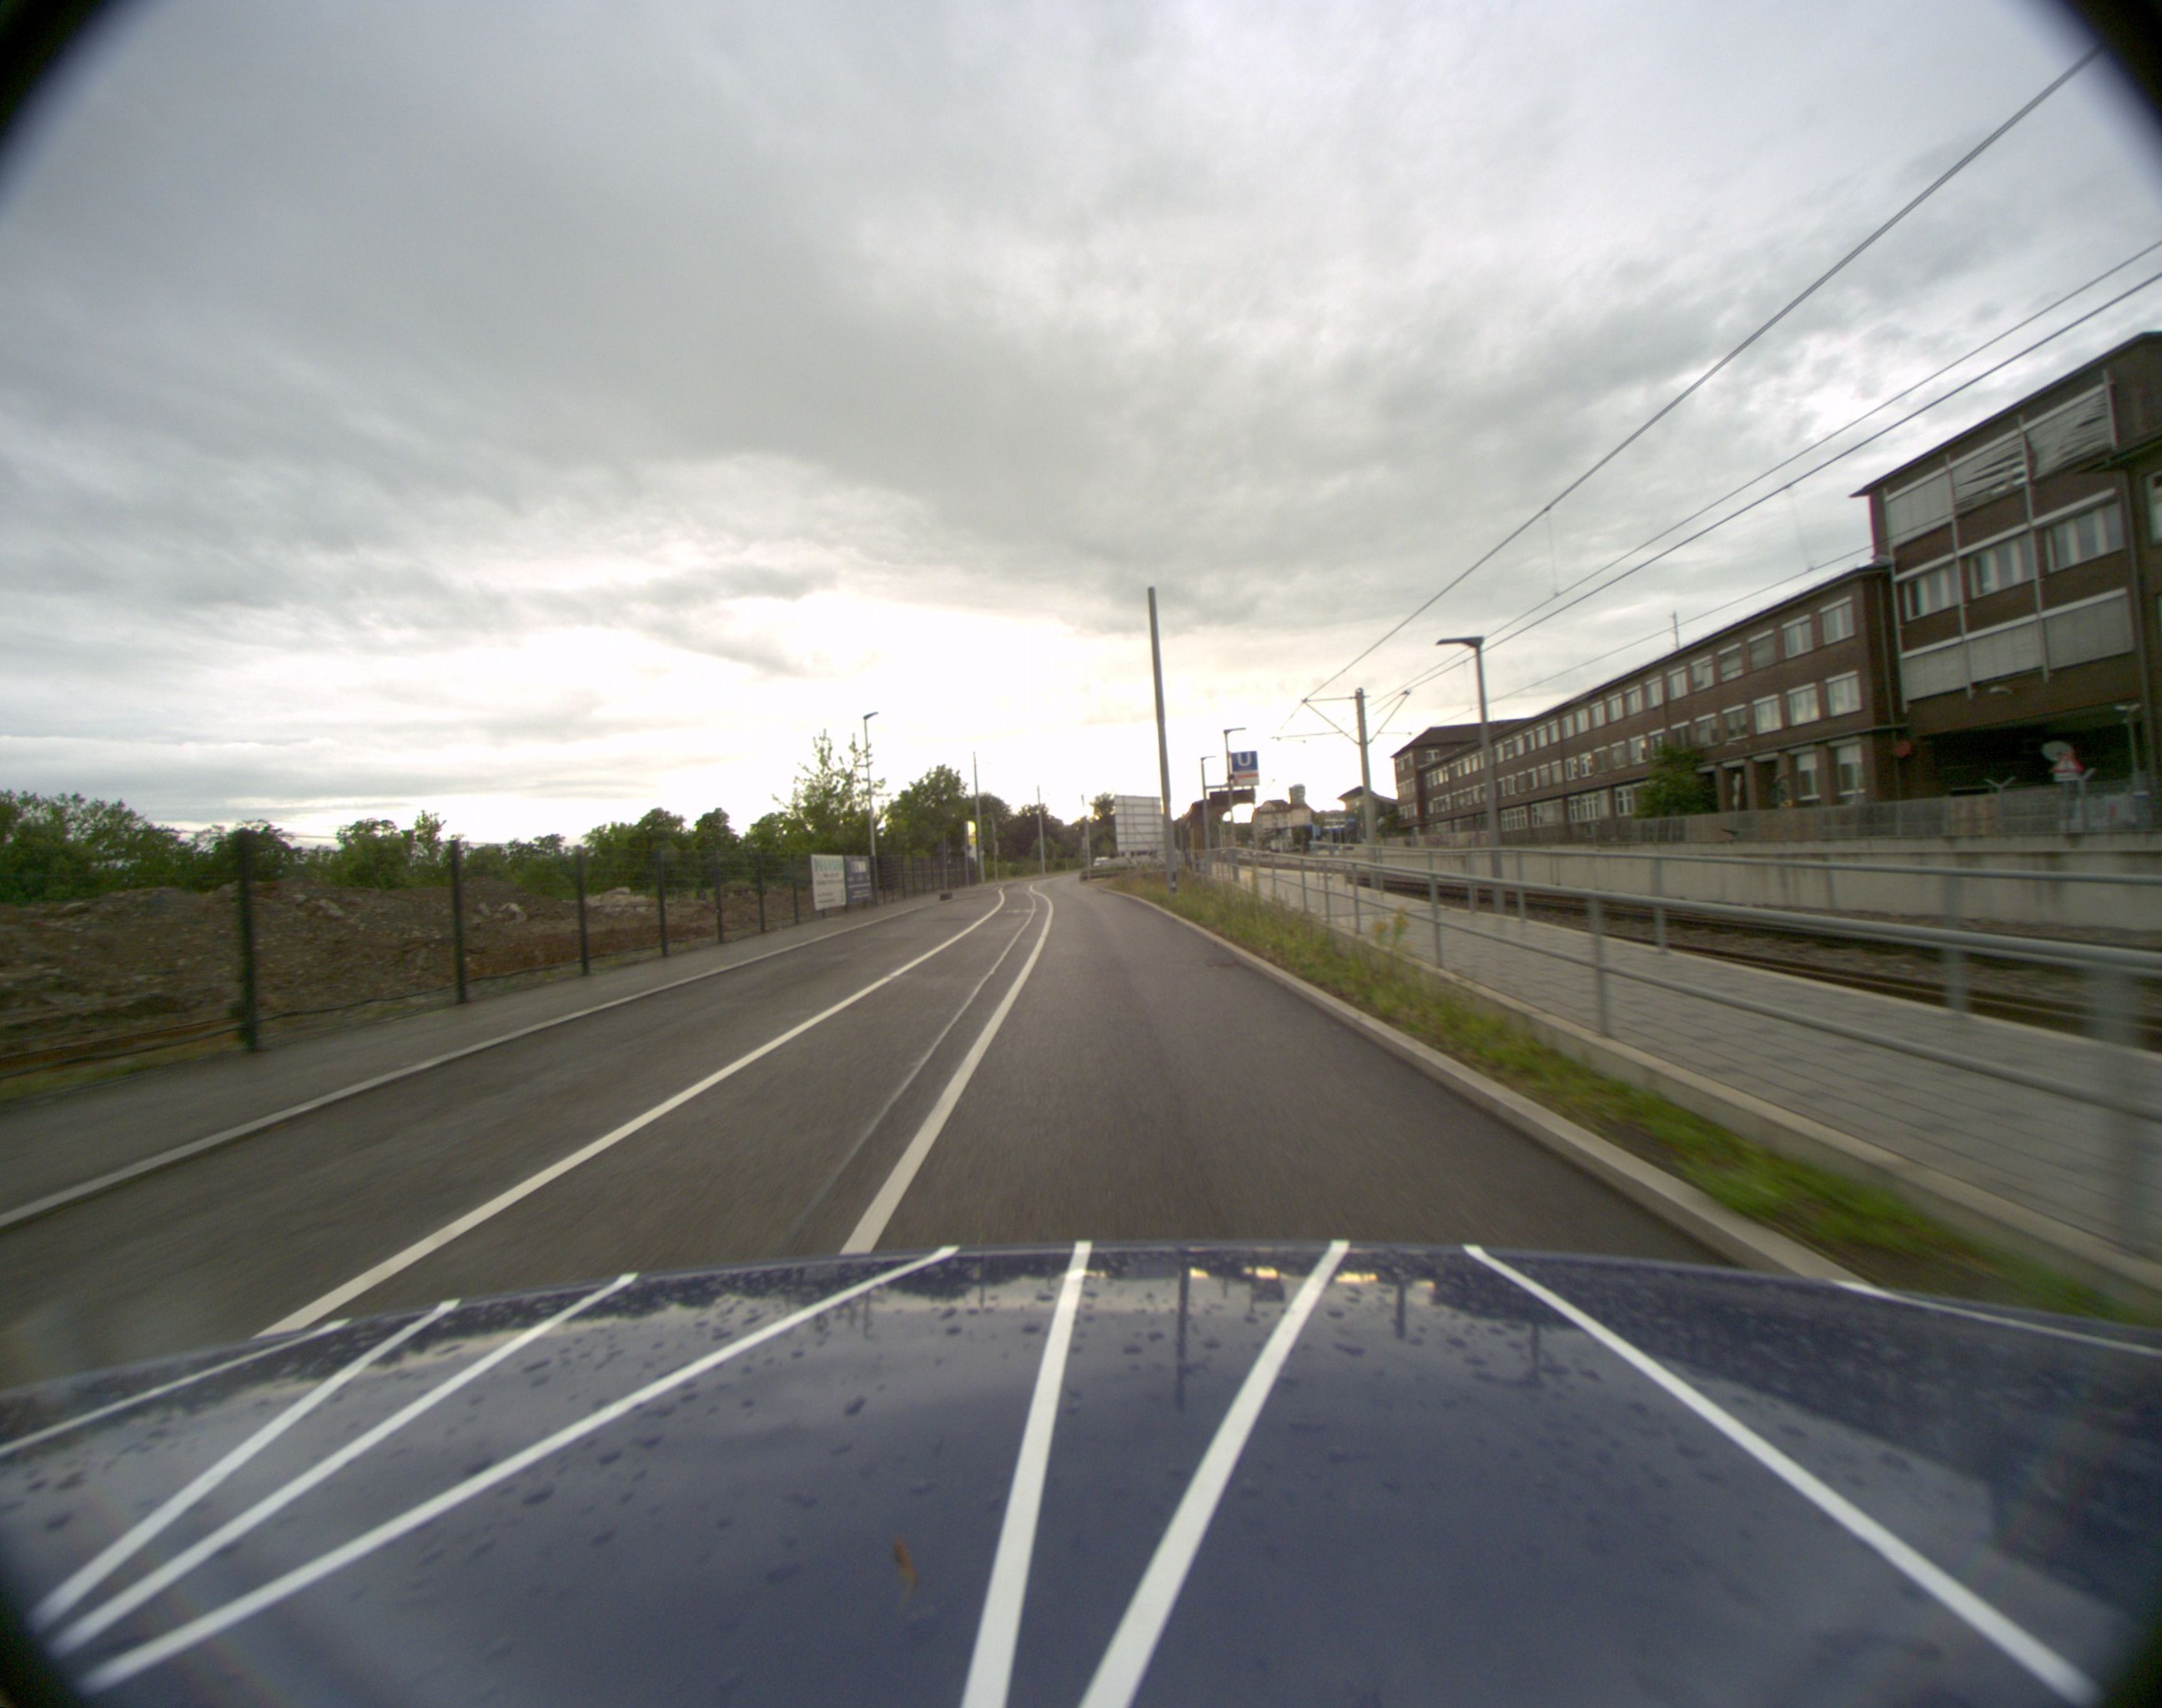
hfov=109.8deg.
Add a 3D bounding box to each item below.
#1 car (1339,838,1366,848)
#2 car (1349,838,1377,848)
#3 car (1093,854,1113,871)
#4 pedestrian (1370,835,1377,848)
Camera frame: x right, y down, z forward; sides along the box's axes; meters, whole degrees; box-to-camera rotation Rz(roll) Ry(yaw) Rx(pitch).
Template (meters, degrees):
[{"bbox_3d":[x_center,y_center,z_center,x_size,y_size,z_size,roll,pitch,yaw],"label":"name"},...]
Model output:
[{"bbox_3d":[53.054,-2.114,148.545,4.573,1.750,2.001,-3,0,9],"label":"car"},{"bbox_3d":[53.802,-2.094,144.950,4.573,1.750,2.001,-3,0,9],"label":"car"},{"bbox_3d":[2.817,1.119,97.292,1.997,2.002,4.002,-1,1,9],"label":"car"},{"bbox_3d":[43.940,-1.883,114.309,0.581,2.002,0.728,-3,1,-28],"label":"pedestrian"}]
